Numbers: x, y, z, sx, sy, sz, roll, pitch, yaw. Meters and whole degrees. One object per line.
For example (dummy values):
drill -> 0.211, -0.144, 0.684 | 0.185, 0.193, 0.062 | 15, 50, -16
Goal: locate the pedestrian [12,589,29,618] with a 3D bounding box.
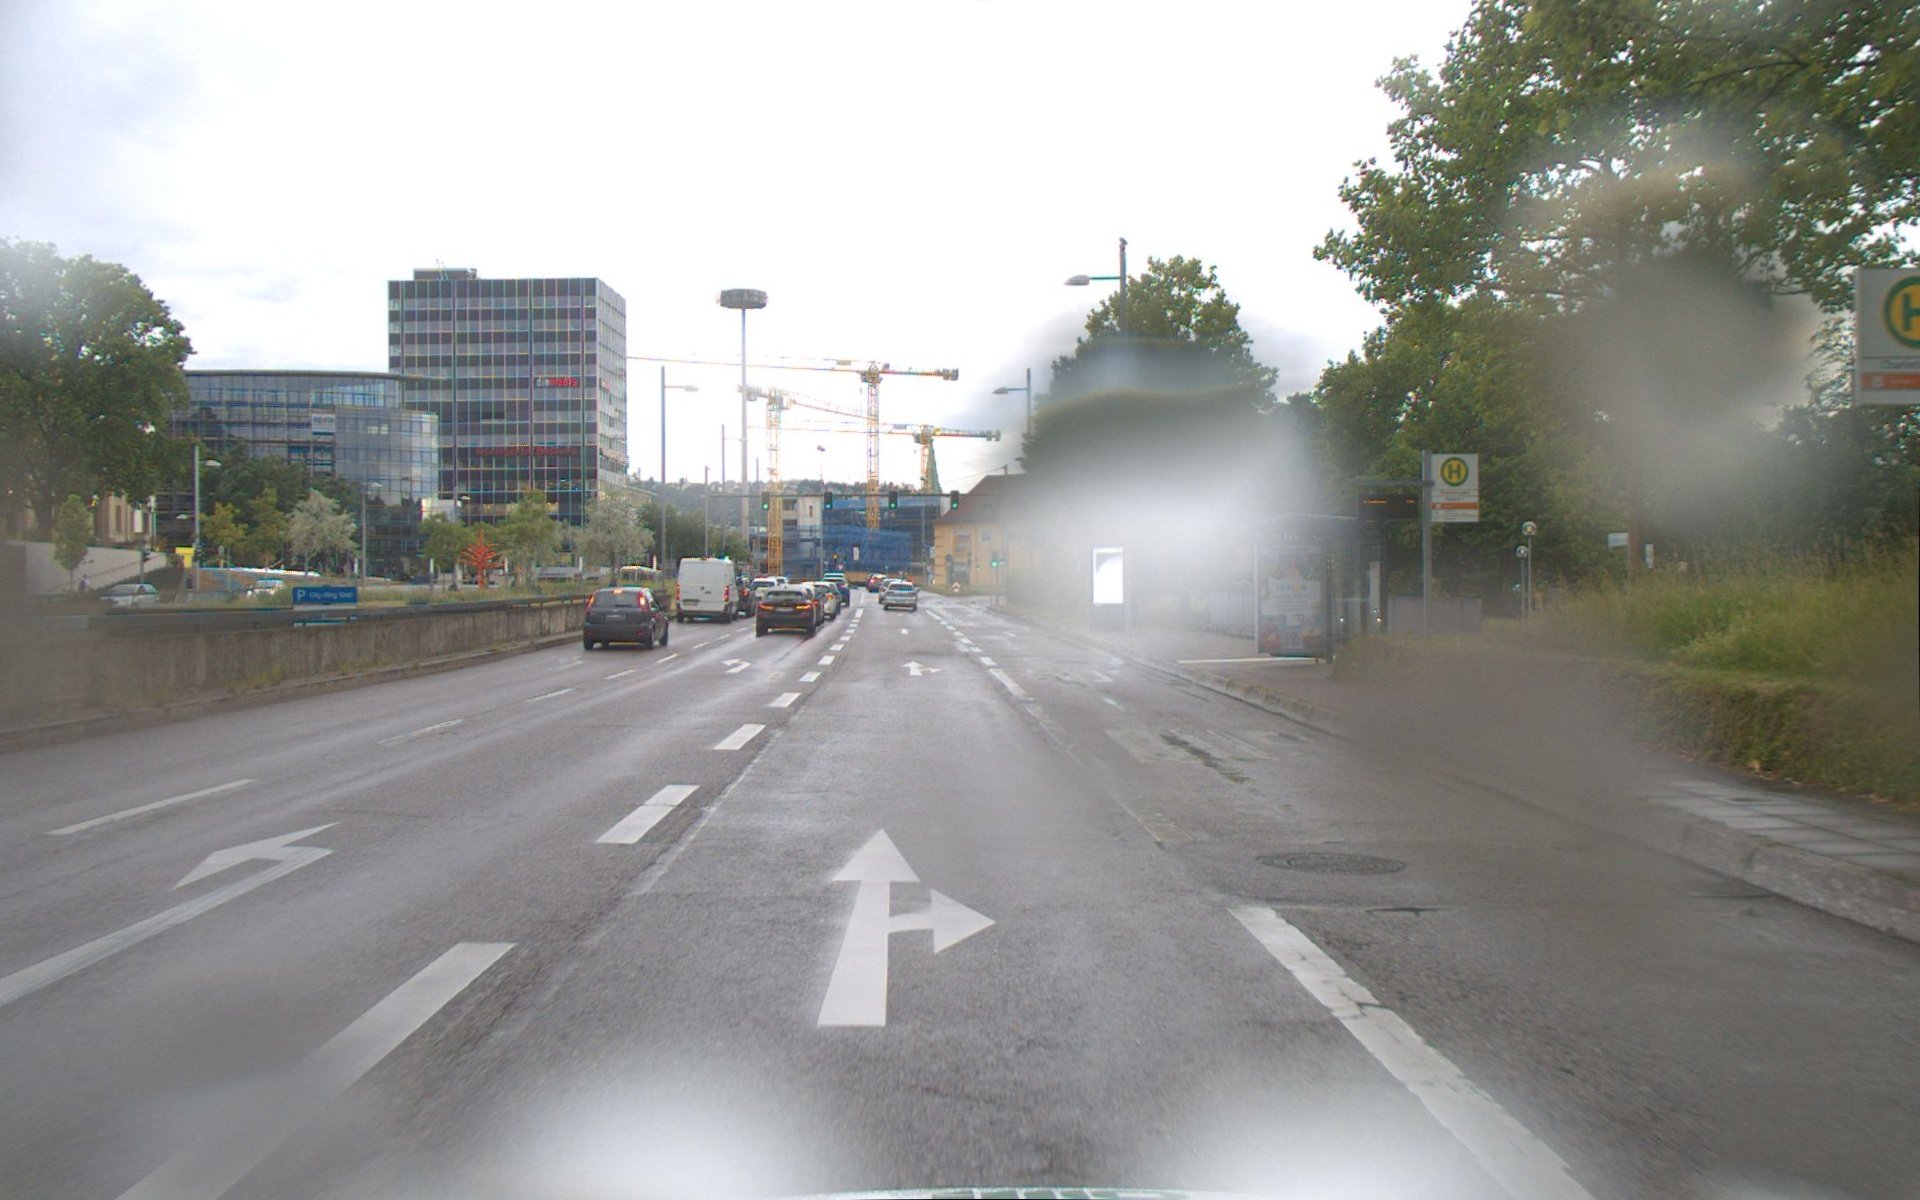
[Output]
pedestrian -> -45.318, 0.171, 79.770 | 0.457, 1.407, 0.576 | 1, -1, -3

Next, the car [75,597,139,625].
car -> -40.268, 0.538, 78.145 | 1.379, 1.277, 3.166 | 1, -1, 0

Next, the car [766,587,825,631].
car -> -5.913, 0.338, 59.843 | 1.792, 1.521, 3.398 | 1, -1, -1

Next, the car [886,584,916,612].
car -> -3.017, -0.108, 84.649 | 1.414, 1.383, 2.412 | 1, -1, 0

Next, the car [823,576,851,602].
car -> -6.752, -0.587, 90.972 | 1.463, 1.393, 3.031 | 1, -1, -3

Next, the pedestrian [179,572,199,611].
pedestrian -> -43.897, -0.488, 94.183 | 0.752, 2.127, 0.726 | 1, 5, -3

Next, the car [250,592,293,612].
car -> -41.247, 0.124, 99.198 | 1.411, 1.134, 3.019 | 1, -1, -3

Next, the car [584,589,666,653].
car -> -8.019, 0.503, 39.873 | 1.512, 1.440, 3.897 | 1, -1, -6

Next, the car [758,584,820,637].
car -> -5.293, 0.292, 51.570 | 1.719, 1.497, 4.220 | 1, 1, -4

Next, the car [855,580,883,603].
car -> -7.918, -0.709, 143.926 | 2.117, 1.912, 3.770 | 1, -1, 0

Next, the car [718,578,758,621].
car -> -9.234, 0.013, 68.953 | 1.435, 1.736, 3.138 | 1, -1, -5

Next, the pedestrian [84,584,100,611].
pedestrian -> -47.084, -0.160, 89.671 | 0.482, 1.448, 0.633 | 1, -1, 2

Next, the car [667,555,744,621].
car -> -9.529, -0.400, 62.278 | 2.246, 2.354, 5.003 | 1, -1, -2

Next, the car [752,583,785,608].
car -> -10.076, -0.233, 87.127 | 1.520, 1.282, 2.579 | 1, -1, -3

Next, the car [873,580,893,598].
car -> -4.602, -0.634, 98.836 | 1.054, 1.008, 1.971 | 1, -2, 0

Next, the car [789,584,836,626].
car -> -6.047, 0.219, 67.674 | 1.844, 1.681, 3.454 | 1, -1, -5
